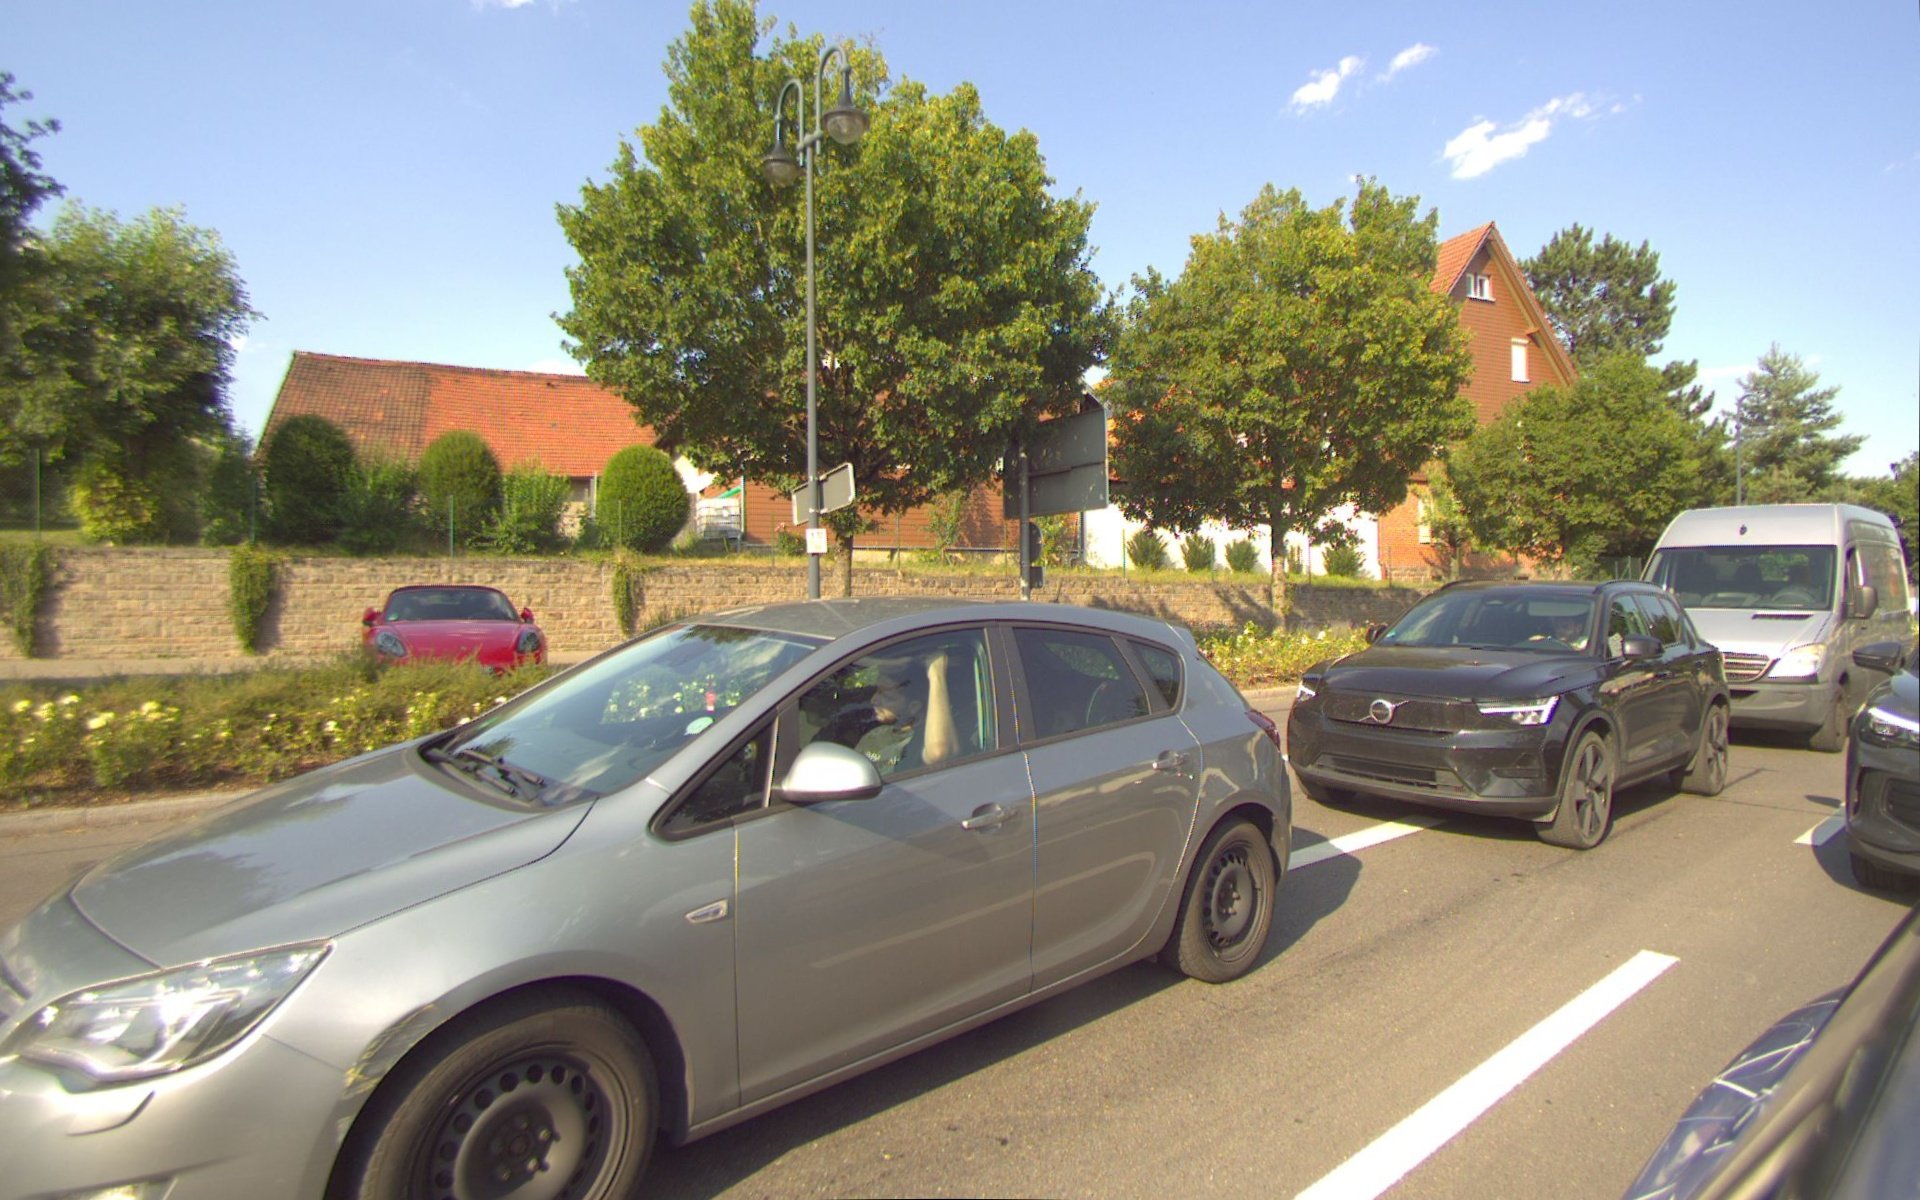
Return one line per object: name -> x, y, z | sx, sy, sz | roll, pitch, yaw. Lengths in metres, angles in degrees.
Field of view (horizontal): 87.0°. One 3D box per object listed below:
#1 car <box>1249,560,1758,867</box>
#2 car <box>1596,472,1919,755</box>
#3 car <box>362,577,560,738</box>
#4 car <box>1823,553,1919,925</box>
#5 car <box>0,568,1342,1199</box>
car -> 4.160, 0.568, 7.444 | 4.242, 1.629, 1.844 | 0, 2, -40
car -> 9.717, 0.088, 11.955 | 5.938, 2.601, 1.992 | 0, 1, -40
car -> -5.897, 0.527, 11.705 | 1.743, 1.510, 4.156 | 0, 0, -31
car -> 6.213, 0.620, 5.329 | 4.242, 1.629, 1.844 | 0, 2, -40
car -> -0.559, 0.667, 3.514 | 4.244, 1.471, 1.765 | 0, 2, -42
